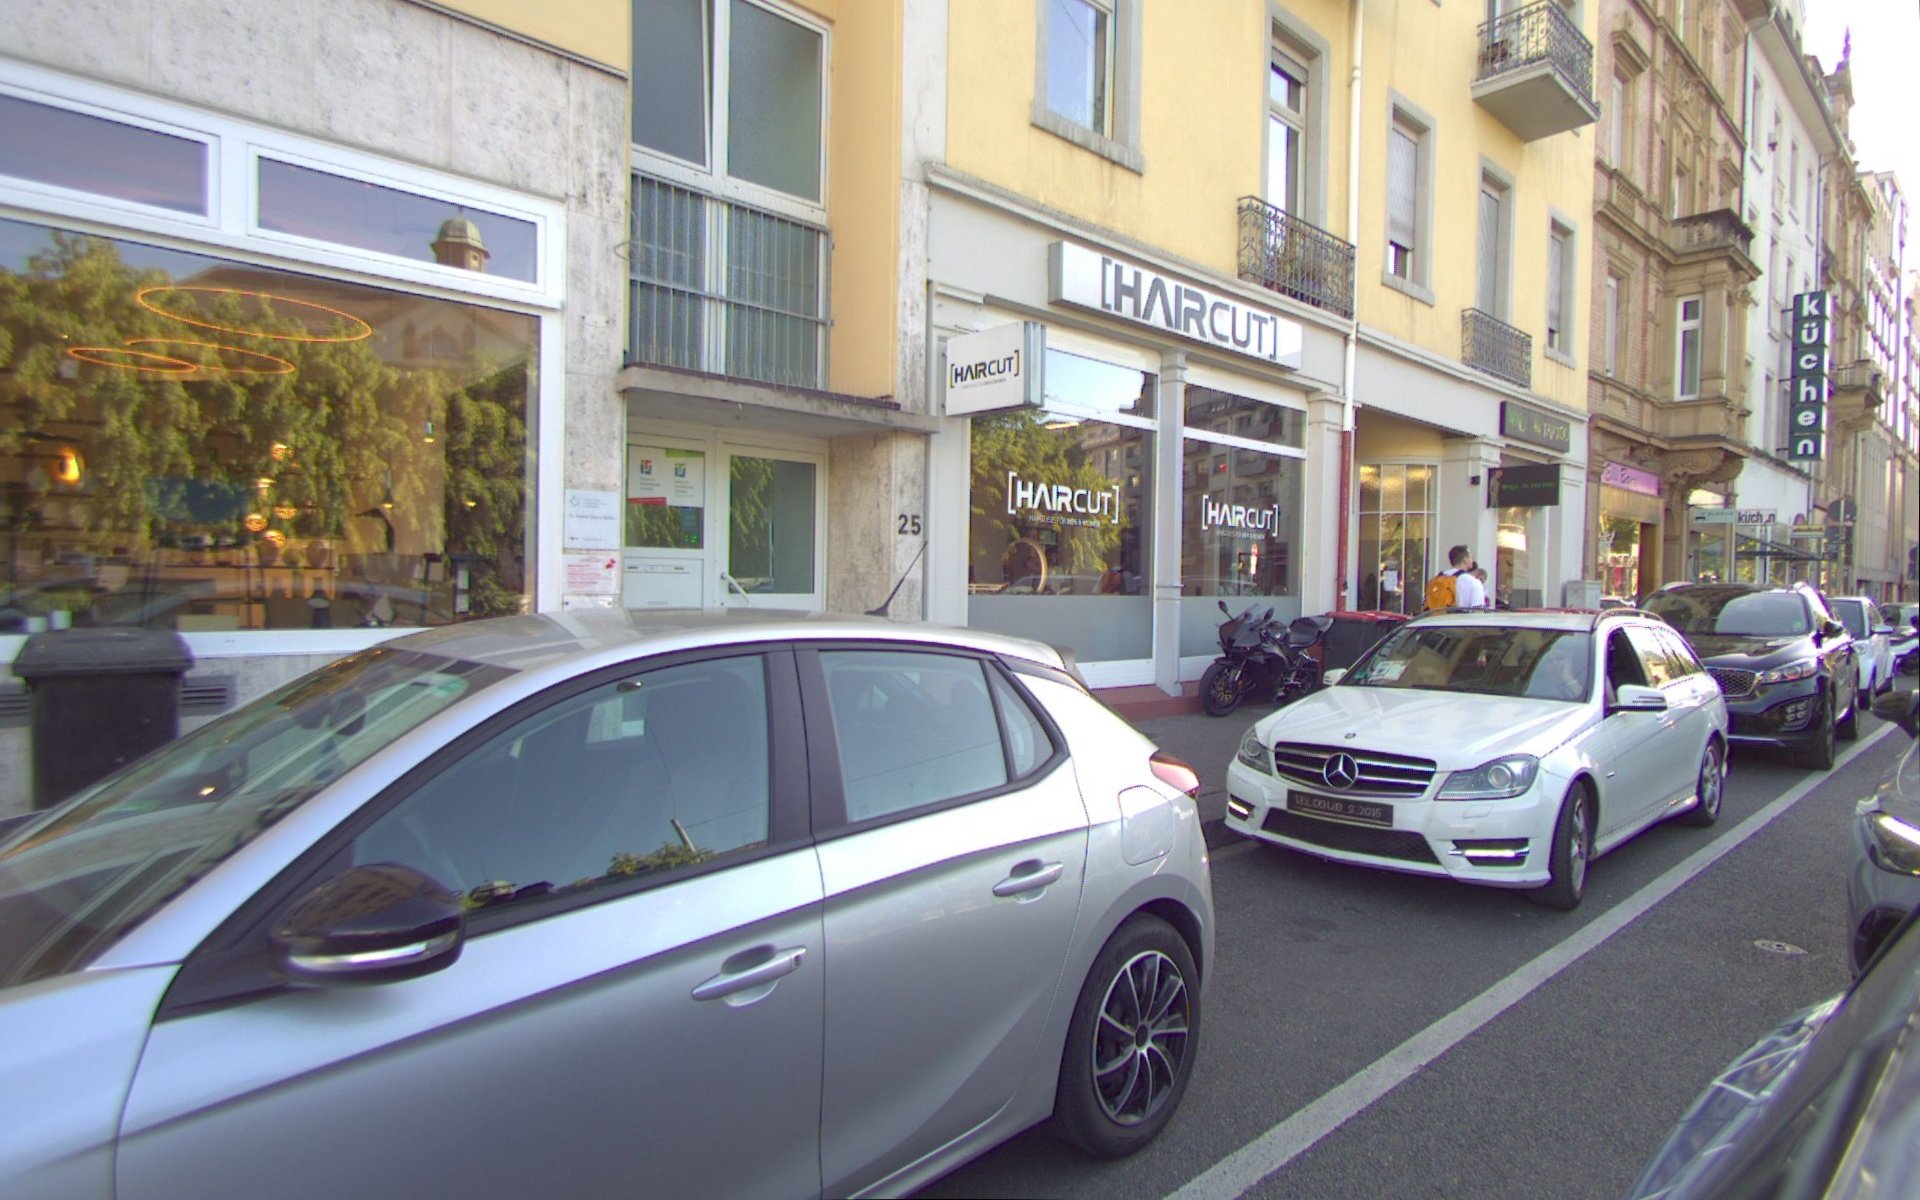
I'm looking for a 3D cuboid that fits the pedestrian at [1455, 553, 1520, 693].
[{"bbox_3d":[7.235,0.300,13.866,0.627,1.859,0.760,0,0,41],"label":"pedestrian"}]

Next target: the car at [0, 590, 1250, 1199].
[{"bbox_3d":[-1.011,0.714,2.300,3.625,1.455,1.585,-1,0,-43],"label":"car"}]

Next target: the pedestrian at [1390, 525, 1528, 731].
[{"bbox_3d":[4.768,0.237,9.675,0.964,1.845,0.811,0,1,-37],"label":"pedestrian"}]

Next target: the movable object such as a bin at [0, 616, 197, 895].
[{"bbox_3d":[-3.682,0.598,4.312,0.639,1.036,0.737,0,0,-41],"label":"movable object such as a bin"}]

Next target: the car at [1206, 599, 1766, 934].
[{"bbox_3d":[3.528,0.707,6.380,4.301,1.389,1.671,-1,0,-41],"label":"car"}]

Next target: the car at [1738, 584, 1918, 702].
[{"bbox_3d":[12.766,0.546,14.845,2.945,1.542,1.582,-1,0,-41],"label":"car"}]

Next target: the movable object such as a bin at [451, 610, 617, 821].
[{"bbox_3d":[-2.332,0.580,5.530,0.639,1.036,0.737,0,0,-41],"label":"movable object such as a bin"}]

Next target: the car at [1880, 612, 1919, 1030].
[{"bbox_3d":[5.393,0.748,4.368,4.397,1.385,1.767,-1,1,-43],"label":"car"}]

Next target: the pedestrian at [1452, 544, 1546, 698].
[{"bbox_3d":[6.847,0.253,12.882,0.961,1.900,0.532,0,0,18],"label":"pedestrian"}]

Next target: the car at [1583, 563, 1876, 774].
[{"bbox_3d":[8.005,0.529,10.359,4.338,1.711,1.802,-1,0,-45],"label":"car"}]

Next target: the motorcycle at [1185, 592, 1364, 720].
[{"bbox_3d":[3.297,0.522,10.496,2.073,1.144,0.735,-1,5,-41],"label":"motorcycle"}]

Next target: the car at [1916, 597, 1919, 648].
[{"bbox_3d":[26.605,0.572,26.919,3.306,1.334,1.459,-1,0,-42],"label":"car"}]

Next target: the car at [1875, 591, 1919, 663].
[{"bbox_3d":[21.893,0.564,22.801,3.736,1.509,1.691,-1,0,-45],"label":"car"}]
